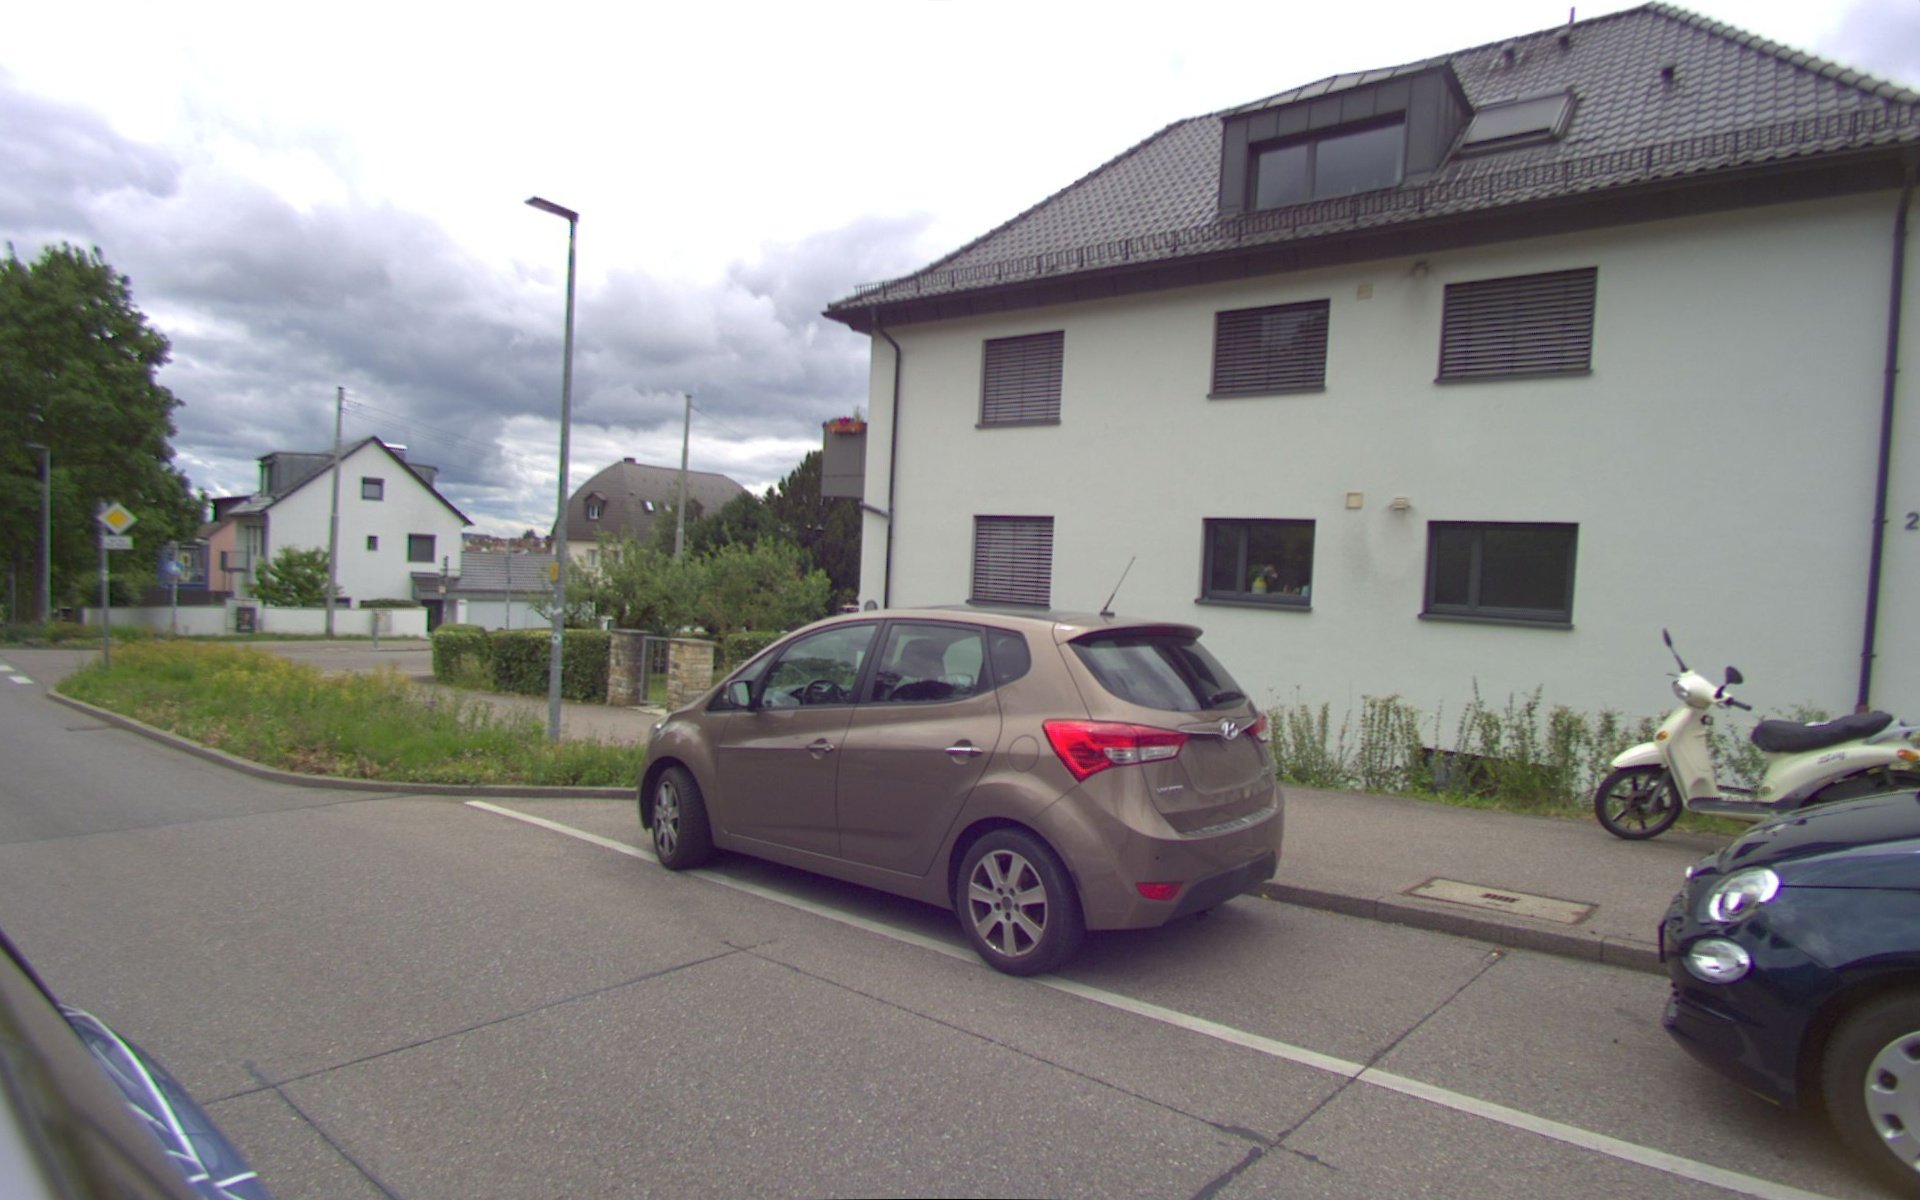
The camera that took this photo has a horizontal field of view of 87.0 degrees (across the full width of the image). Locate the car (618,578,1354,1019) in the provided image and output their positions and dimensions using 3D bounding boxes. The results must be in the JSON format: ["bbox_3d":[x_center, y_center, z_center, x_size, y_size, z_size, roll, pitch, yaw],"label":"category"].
[{"bbox_3d":[-0.075,0.754,5.680,3.871,1.597,1.857,-1,-2,42],"label":"car"}]

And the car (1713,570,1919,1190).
[{"bbox_3d":[4.013,0.697,2.321,3.507,1.548,1.857,-1,-2,42],"label":"car"}]

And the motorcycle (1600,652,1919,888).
[{"bbox_3d":[4.856,0.932,5.889,0.424,1.169,1.866,2,-1,-40],"label":"motorcycle"}]

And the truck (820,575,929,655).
[{"bbox_3d":[-5.216,1.019,63.765,3.137,4.585,7.886,3,-1,24],"label":"truck"}]
